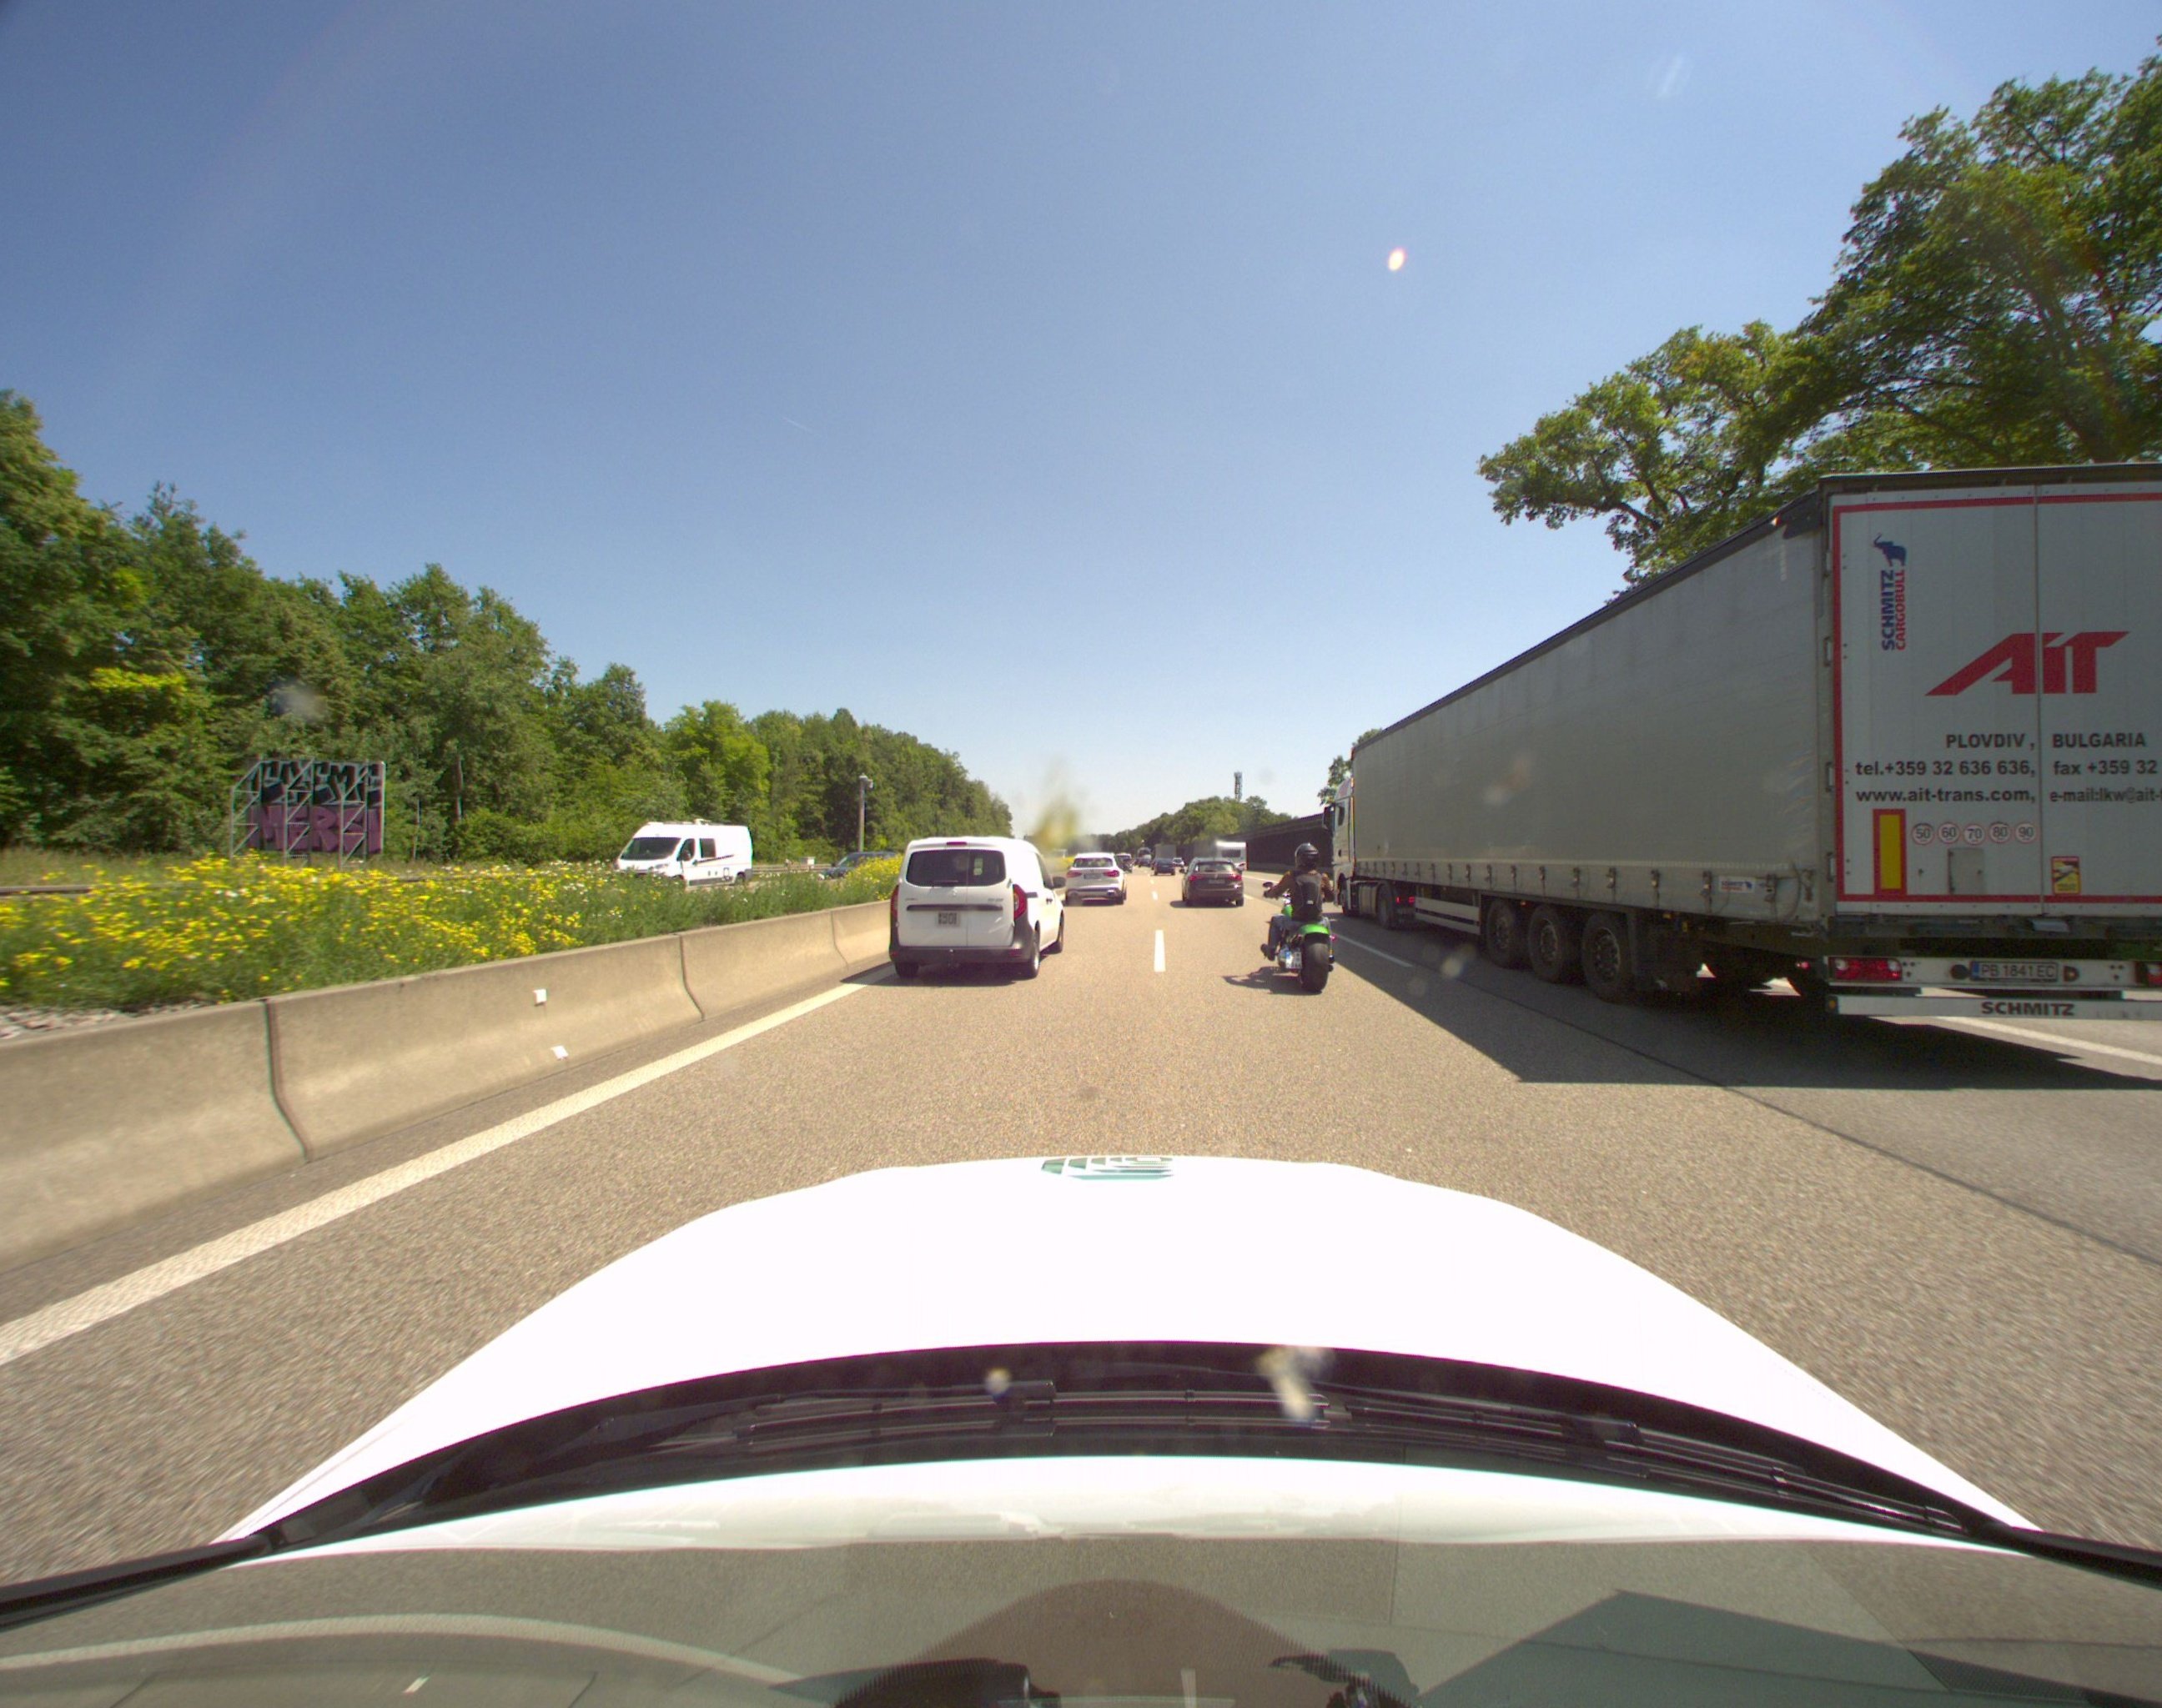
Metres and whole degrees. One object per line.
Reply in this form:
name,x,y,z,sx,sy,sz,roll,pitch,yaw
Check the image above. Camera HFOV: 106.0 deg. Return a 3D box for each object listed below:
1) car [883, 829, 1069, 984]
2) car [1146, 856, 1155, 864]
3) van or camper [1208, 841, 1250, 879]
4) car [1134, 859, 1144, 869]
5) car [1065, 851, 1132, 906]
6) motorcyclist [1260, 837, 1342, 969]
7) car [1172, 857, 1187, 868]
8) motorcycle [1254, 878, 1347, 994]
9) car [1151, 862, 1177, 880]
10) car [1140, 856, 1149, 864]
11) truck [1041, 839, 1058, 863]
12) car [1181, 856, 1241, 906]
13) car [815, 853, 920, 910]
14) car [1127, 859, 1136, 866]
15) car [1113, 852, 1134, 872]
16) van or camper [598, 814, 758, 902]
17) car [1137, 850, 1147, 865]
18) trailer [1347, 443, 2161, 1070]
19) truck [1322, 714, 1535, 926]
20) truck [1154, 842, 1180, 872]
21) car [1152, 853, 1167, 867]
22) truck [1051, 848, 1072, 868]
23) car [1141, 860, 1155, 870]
car,-1.285,0.640,11.928,1.757,1.813,4.679,0,0,4
car,16.450,1.350,191.681,2.098,1.876,4.005,0,-1,5
van or camper,11.607,0.548,64.317,2.672,2.813,6.812,0,-1,5
car,11.752,2.058,163.998,1.904,2.014,3.692,0,-1,2
car,0.692,0.763,27.667,1.855,1.694,4.964,0,0,6
motorcyclist,2.701,0.574,10.166,0.893,1.475,1.878,-1,-1,13
car,14.854,1.231,122.580,1.985,1.574,4.002,0,-1,3
motorcycle,2.664,0.921,10.131,0.958,1.148,2.821,0,0,13
car,6.798,1.384,66.721,1.984,1.430,3.853,0,-1,6
car,15.461,1.484,197.337,2.099,1.876,4.002,0,-1,3
truck,-7.277,-0.590,190.489,3.469,5.277,10.014,0,-2,0
car,4.053,0.836,25.769,1.654,1.453,3.875,0,-1,6
car,-6.887,0.894,26.850,1.915,1.709,4.633,0,-1,5
car,11.503,1.962,185.719,1.826,1.496,3.744,0,-1,1
car,4.109,0.815,78.972,1.890,1.874,4.418,0,-1,5
van or camper,-13.749,0.136,28.357,2.075,2.701,6.160,0,0,5
car,15.793,0.982,211.004,2.125,3.862,8.145,0,0,2
trailer,7.021,-0.600,12.167,2.871,4.038,13.816,0,0,6
truck,7.712,-0.648,19.026,2.871,4.146,5.995,0,0,5
truck,15.013,0.622,142.959,3.789,4.960,8.952,0,-1,1
car,9.471,0.713,98.571,1.771,1.552,3.590,0,0,5
truck,-2.180,0.443,91.575,1.829,2.226,6.202,0,0,3
car,11.073,1.870,134.911,1.986,1.640,4.000,0,-1,1
